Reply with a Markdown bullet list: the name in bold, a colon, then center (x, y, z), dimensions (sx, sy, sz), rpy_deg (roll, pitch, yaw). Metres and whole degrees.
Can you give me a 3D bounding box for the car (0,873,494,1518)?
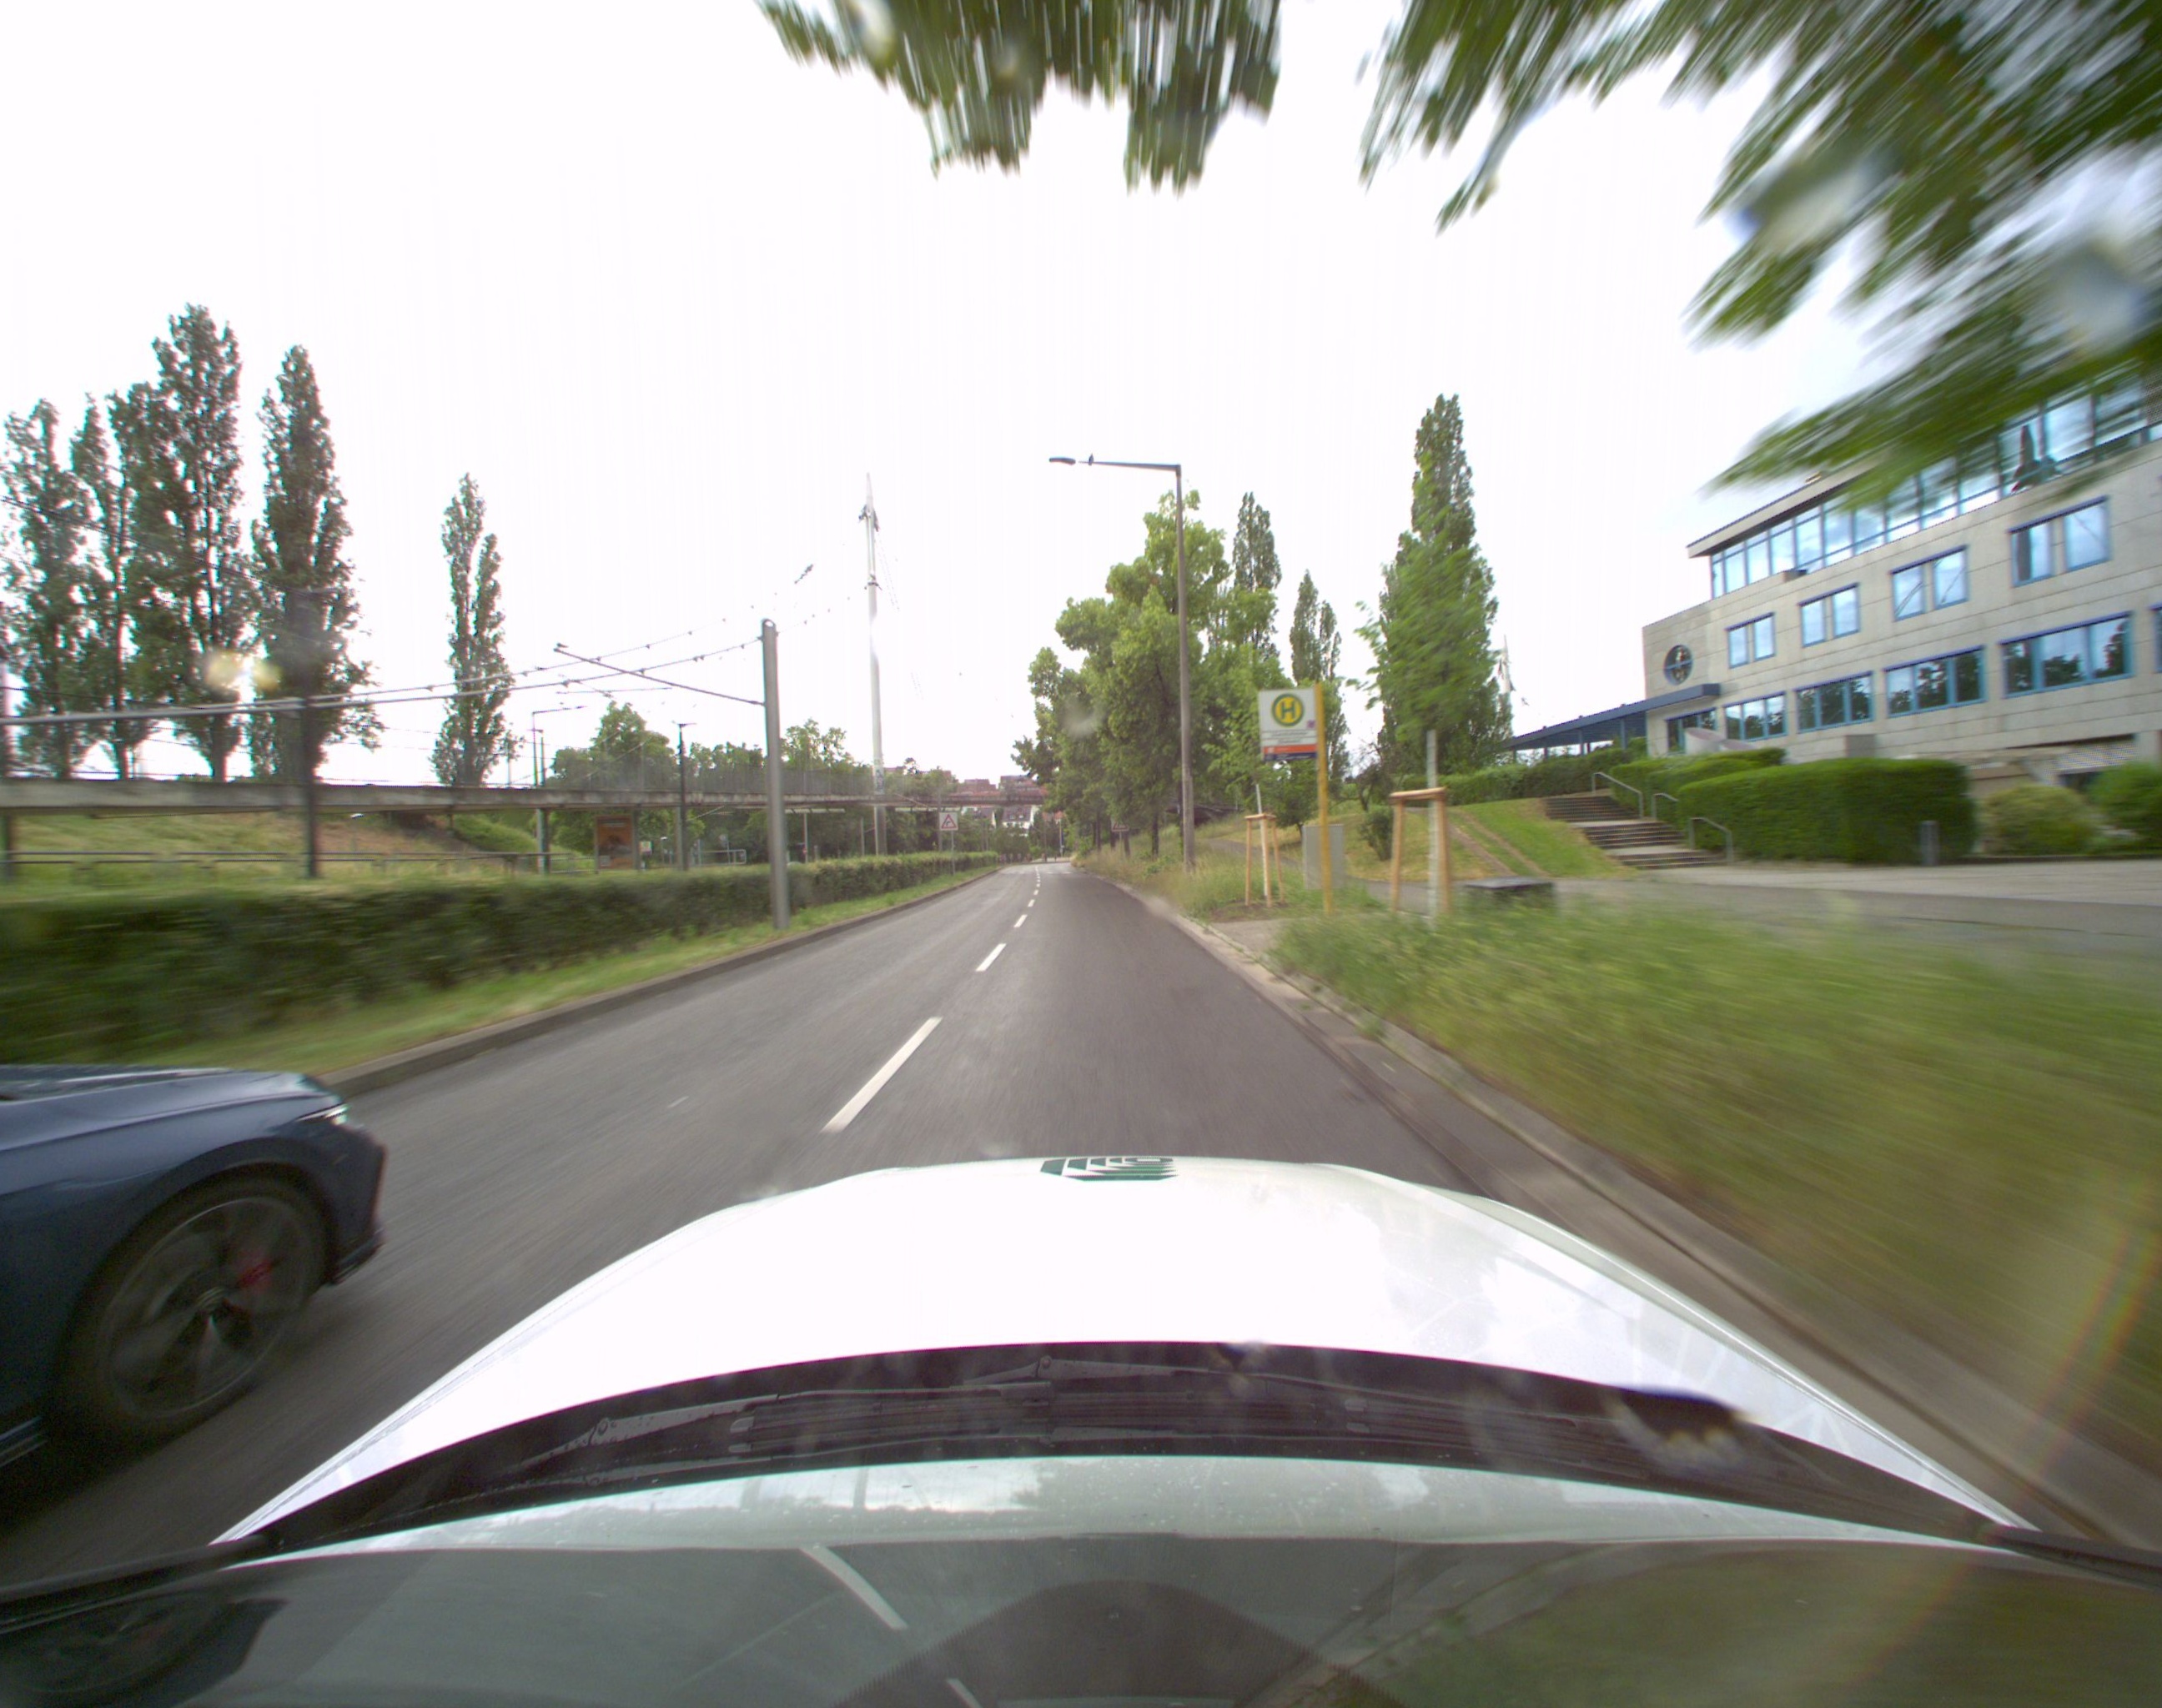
- **car**: center (-3.292, 0.772, 1.057), dimensions (1.801, 1.378, 4.348), rpy_deg (-1, 0, 2)
